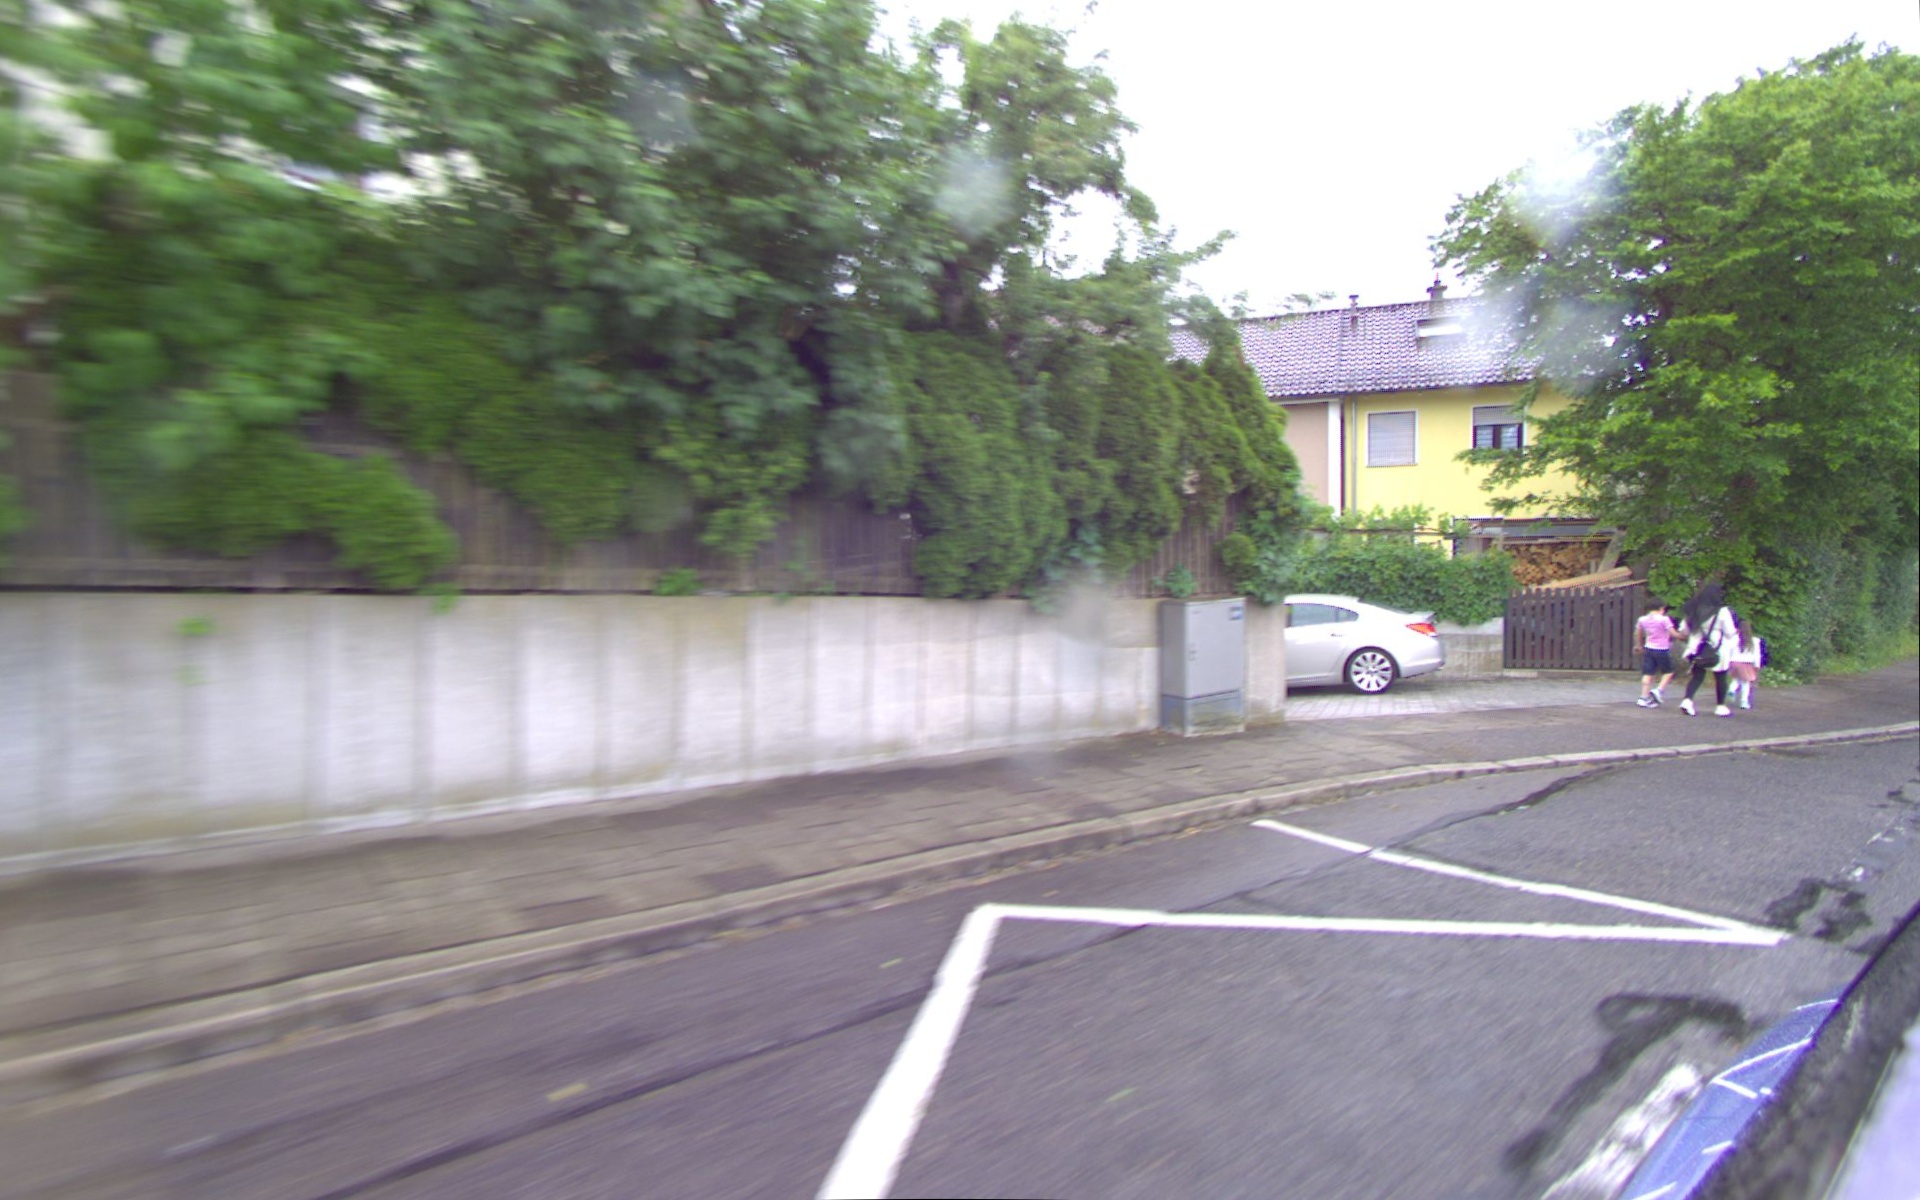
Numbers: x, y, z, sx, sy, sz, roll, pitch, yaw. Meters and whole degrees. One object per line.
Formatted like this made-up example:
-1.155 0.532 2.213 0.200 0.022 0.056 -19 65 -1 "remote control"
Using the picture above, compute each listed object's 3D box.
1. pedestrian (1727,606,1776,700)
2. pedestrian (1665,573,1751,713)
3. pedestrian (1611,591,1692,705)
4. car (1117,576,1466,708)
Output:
10.040 0.659 12.838 0.359 1.161 0.369 1 1 -32 "pedestrian"
9.005 0.495 12.193 0.633 1.613 0.612 0 1 -32 "pedestrian"
8.677 0.581 12.708 0.633 1.371 0.604 0 1 -32 "pedestrian"
4.827 0.627 15.106 4.546 1.438 1.779 -7 -1 20 "car"
